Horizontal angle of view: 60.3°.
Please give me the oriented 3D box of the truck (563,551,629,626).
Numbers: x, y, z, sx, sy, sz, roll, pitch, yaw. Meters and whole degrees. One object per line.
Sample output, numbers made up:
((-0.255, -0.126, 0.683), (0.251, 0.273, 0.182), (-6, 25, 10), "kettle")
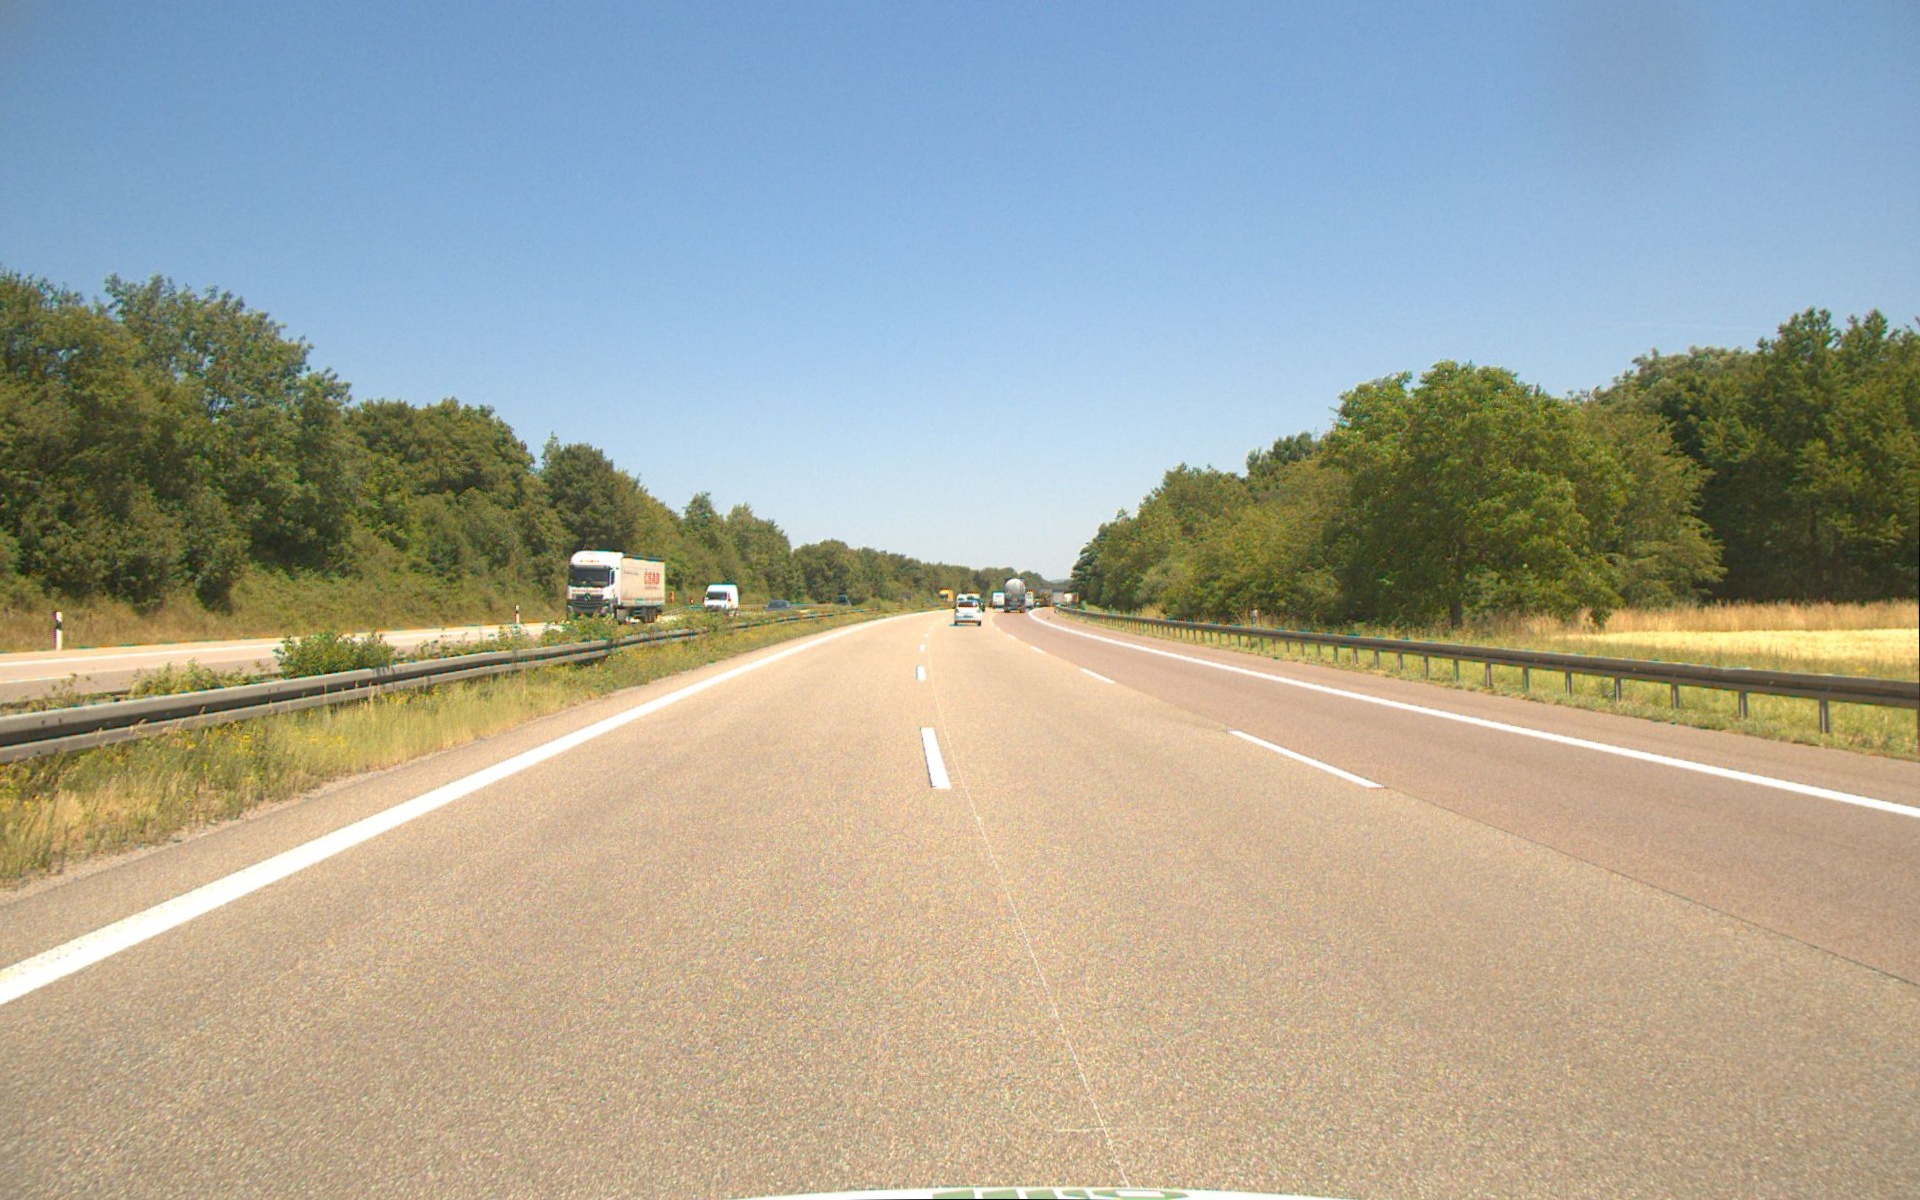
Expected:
((-20.245, -0.625, 92.099), (2.646, 4.035, 4.443), (-1, 0, 0), "truck")

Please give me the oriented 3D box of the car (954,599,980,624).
((0.405, 0.700, 101.196), (1.594, 1.505, 3.999), (0, 0, 0), "car")

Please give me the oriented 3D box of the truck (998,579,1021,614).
((5.972, -0.394, 197.587), (2.682, 4.123, 10.456), (0, 0, 2), "truck")

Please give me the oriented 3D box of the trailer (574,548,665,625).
((-20.251, -0.736, 99.233), (2.650, 4.257, 13.557), (-1, 0, 0), "trailer")

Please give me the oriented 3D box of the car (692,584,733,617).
((-20.059, 0.047, 134.477), (2.183, 2.621, 7.391), (-1, 0, 0), "car")

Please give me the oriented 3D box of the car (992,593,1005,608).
((6.066, 0.124, 260.871), (1.952, 2.384, 4.388), (0, 0, 2), "car")
